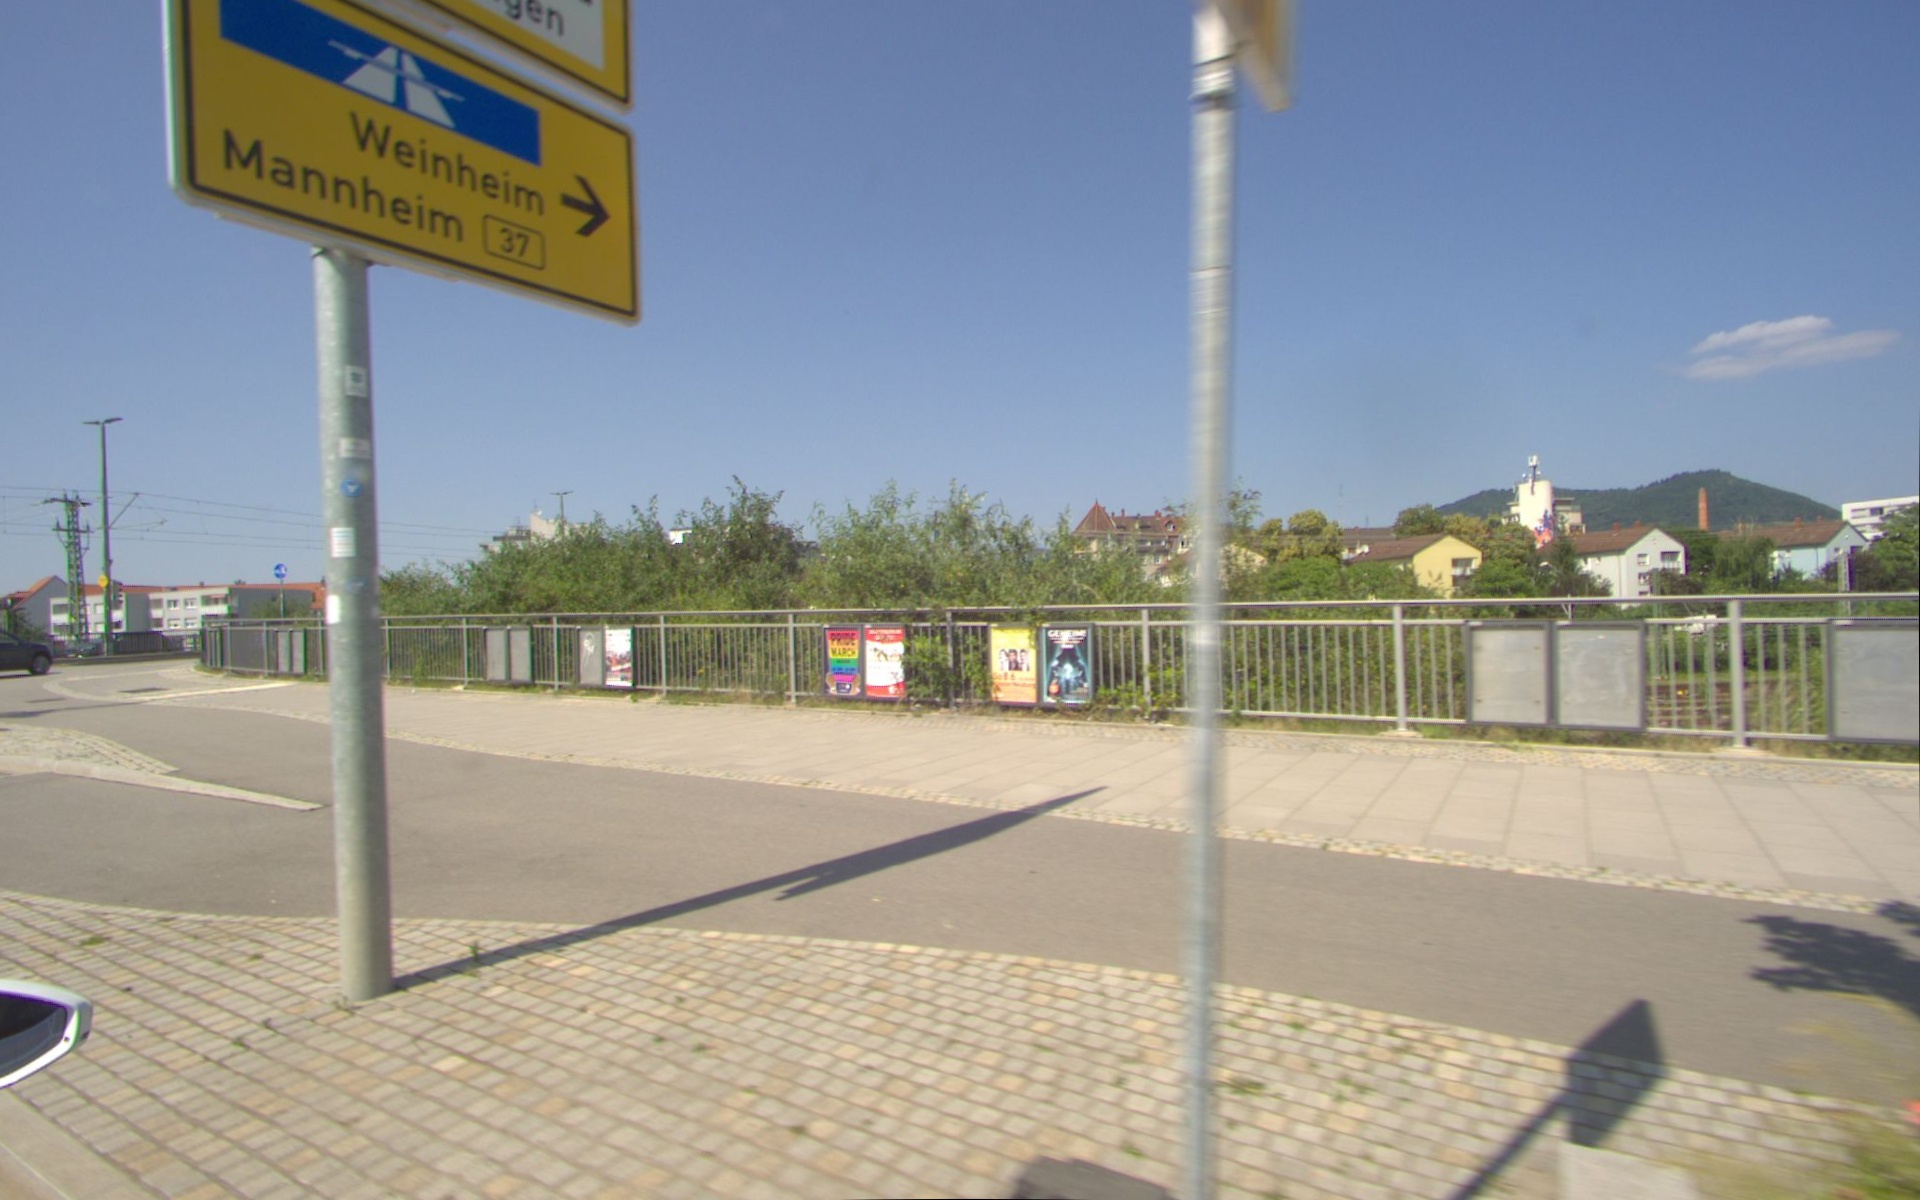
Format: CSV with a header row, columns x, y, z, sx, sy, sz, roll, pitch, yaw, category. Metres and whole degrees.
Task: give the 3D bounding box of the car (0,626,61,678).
x,y,z,sx,sy,sz,roll,pitch,yaw,category
-30.625,1.611,31.289,1.696,1.583,4.001,1,-2,-5,car
